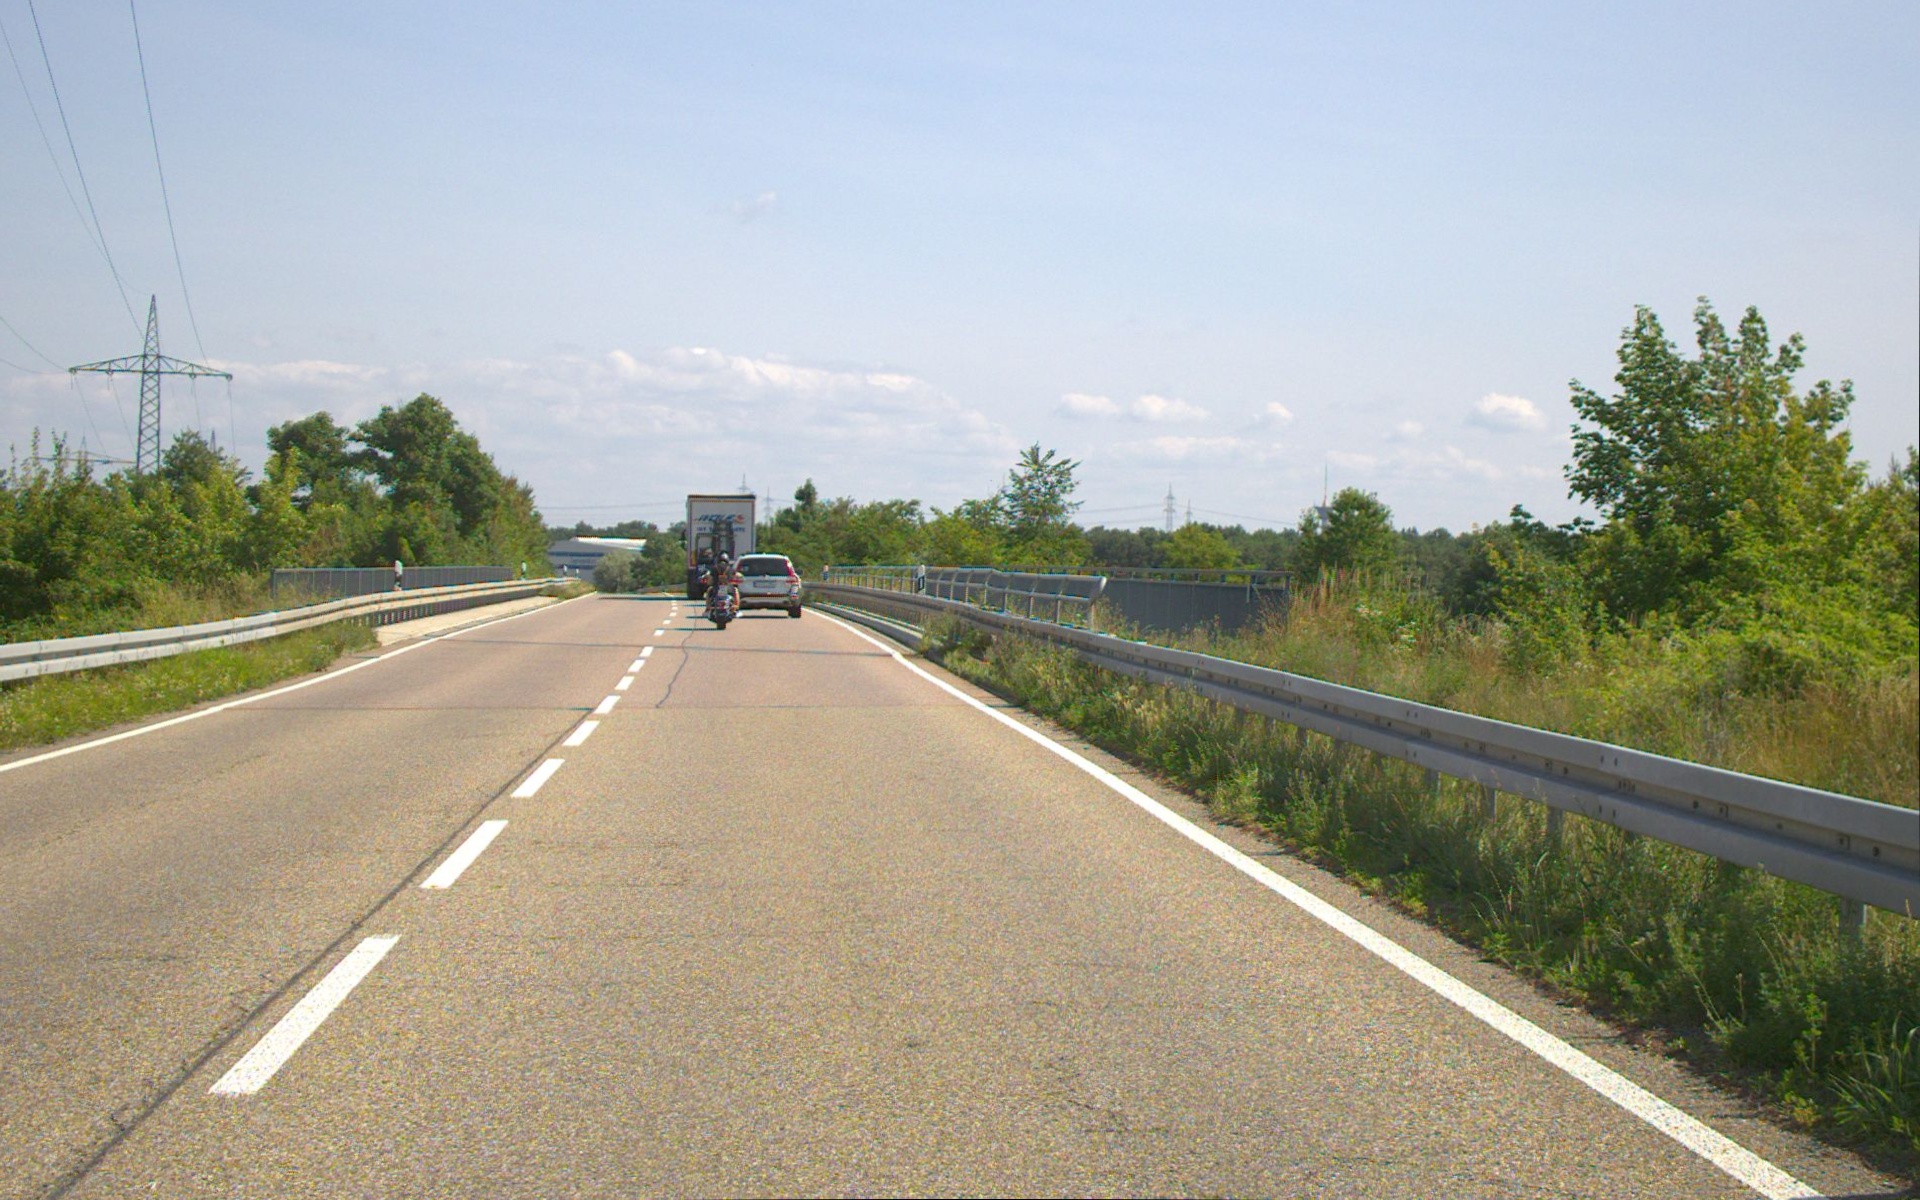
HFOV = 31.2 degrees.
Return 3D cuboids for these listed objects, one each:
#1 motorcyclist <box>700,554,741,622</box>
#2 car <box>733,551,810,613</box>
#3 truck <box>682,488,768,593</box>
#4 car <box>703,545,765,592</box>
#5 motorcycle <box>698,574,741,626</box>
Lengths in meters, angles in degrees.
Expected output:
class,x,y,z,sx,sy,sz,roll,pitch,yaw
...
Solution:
class,x,y,z,sx,sy,sz,roll,pitch,yaw
motorcyclist,-4.755,-0.246,68.275,0.780,1.321,0.813,1,1,-2
car,-4.646,-0.459,84.491,1.825,1.446,4.001,1,1,-3
truck,-9.229,-2.328,135.698,3.241,3.965,9.445,1,1,-3
car,-7.184,-1.003,109.490,1.866,1.415,4.001,1,1,-3
motorcycle,-4.767,-0.005,68.259,0.780,0.972,2.362,1,1,-2
